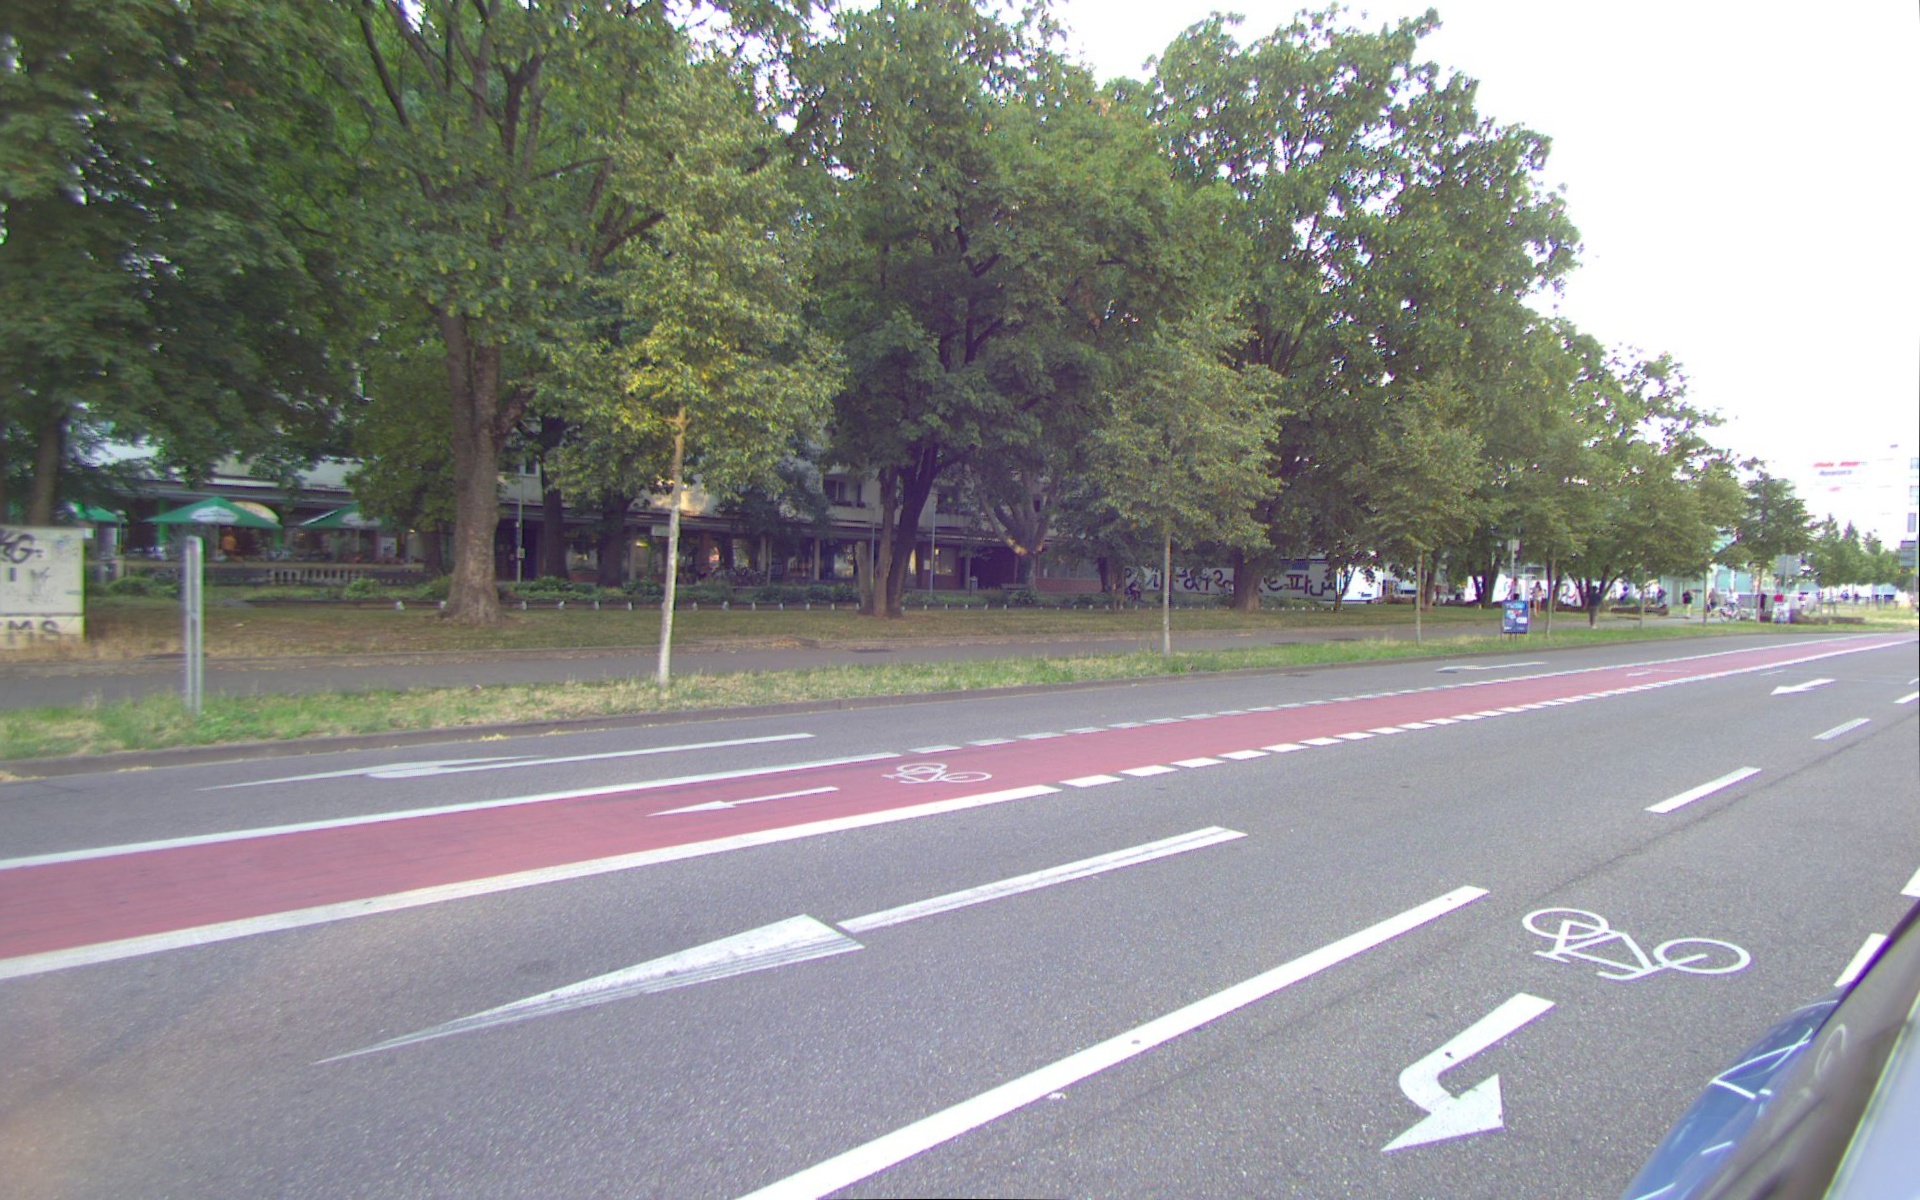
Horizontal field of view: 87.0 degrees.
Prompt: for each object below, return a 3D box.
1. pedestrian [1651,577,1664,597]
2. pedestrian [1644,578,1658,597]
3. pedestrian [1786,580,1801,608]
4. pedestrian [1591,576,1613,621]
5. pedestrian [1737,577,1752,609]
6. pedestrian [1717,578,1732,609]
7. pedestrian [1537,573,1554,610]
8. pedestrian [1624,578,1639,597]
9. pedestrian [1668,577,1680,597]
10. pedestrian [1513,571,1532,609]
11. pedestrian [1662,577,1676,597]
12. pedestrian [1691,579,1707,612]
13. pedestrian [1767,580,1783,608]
[{"bbox_3d":[49.345,-0.899,71.603,0.759,1.371,0.519,0,2,-41],"label":"pedestrian"},{"bbox_3d":[49.486,-0.912,72.480,0.550,1.371,0.662,0,2,-40],"label":"pedestrian"},{"bbox_3d":[53.801,-0.384,65.303,0.497,1.779,0.638,0,2,-40],"label":"pedestrian"},{"bbox_3d":[25.738,-0.076,40.560,0.546,1.760,0.558,0,2,-41],"label":"pedestrian"},{"bbox_3d":[44.560,-0.397,57.496,0.707,1.751,0.508,0,2,-40],"label":"pedestrian"},{"bbox_3d":[44.130,-0.363,58.408,0.707,1.751,0.519,0,2,-40],"label":"pedestrian"},{"bbox_3d":[25.489,-0.377,44.051,0.359,1.621,0.500,1,2,-40],"label":"pedestrian"},{"bbox_3d":[48.450,-0.883,73.008,0.604,1.371,0.728,0,2,-40],"label":"pedestrian"},{"bbox_3d":[50.067,-0.896,70.957,0.759,1.371,0.519,0,2,-41],"label":"pedestrian"},{"bbox_3d":[24.263,-0.452,43.669,0.513,1.621,0.500,0,2,-41],"label":"pedestrian"},{"bbox_3d":[50.653,-0.920,72.313,0.496,1.371,0.654,0,2,-40],"label":"pedestrian"},{"bbox_3d":[40.290,-0.251,55.198,0.707,1.751,0.508,0,2,-40],"label":"pedestrian"},{"bbox_3d":[53.176,-0.397,66.026,0.497,1.779,0.638,0,2,-40],"label":"pedestrian"}]
